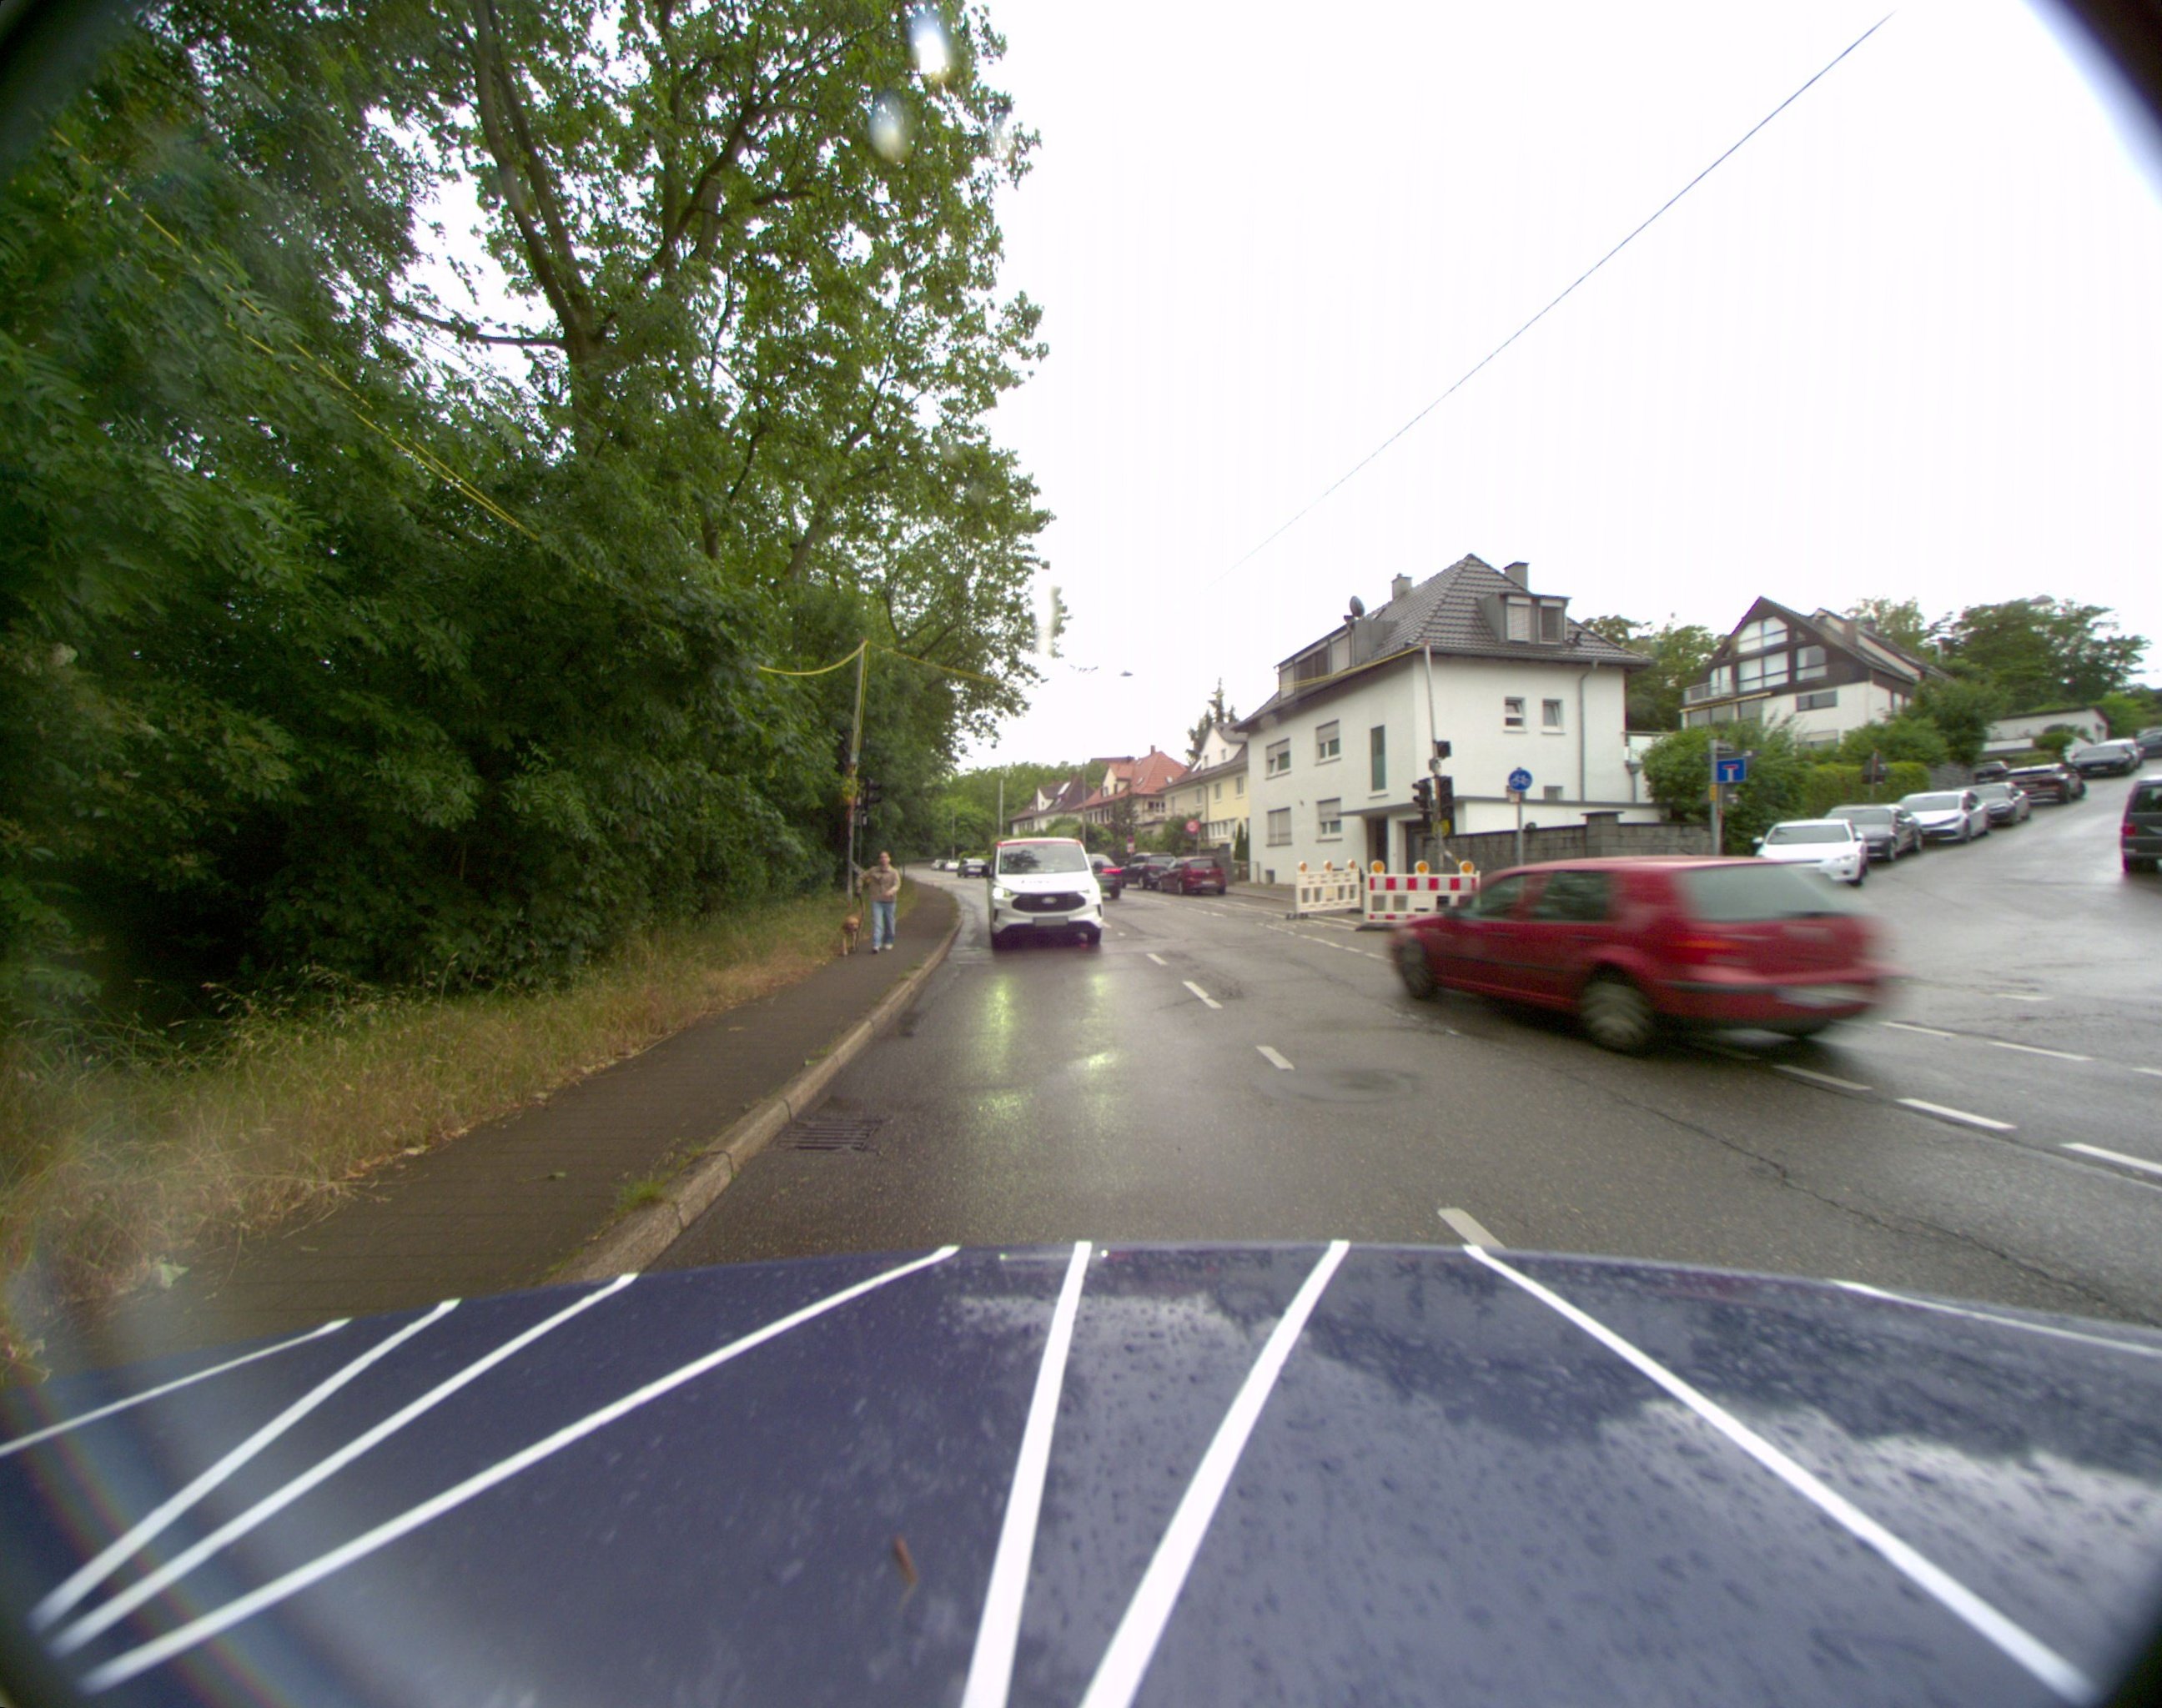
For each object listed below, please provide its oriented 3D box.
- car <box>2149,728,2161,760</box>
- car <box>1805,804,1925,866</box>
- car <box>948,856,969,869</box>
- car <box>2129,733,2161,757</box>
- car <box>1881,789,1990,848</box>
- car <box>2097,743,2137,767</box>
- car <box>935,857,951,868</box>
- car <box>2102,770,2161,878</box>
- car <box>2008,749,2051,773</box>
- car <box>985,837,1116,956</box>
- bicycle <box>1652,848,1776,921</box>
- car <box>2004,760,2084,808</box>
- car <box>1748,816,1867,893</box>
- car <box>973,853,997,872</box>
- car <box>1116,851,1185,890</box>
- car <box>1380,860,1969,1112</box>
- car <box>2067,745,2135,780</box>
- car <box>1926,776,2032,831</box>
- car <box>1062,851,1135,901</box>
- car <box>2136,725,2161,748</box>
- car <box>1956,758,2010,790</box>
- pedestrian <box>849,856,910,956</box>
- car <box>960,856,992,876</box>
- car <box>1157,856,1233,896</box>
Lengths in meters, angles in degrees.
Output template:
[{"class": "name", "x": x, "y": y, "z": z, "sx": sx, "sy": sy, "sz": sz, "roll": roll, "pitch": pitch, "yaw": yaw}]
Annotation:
[{"class": "car", "x": 72.467, "y": -7.441, "z": 48.970, "sx": 2.003, "sy": 2.000, "sz": 3.993, "roll": -2, "pitch": -4, "yaw": -32}, {"class": "car", "x": 22.465, "y": -0.555, "z": 21.748, "sx": 3.910, "sy": 1.380, "sz": 1.719, "roll": -7, "pitch": 3, "yaw": -34}, {"class": "car", "x": -15.232, "y": 1.074, "z": 94.166, "sx": 2.071, "sy": 1.477, "sz": 4.556, "roll": -2, "pitch": 0, "yaw": -16}, {"class": "car", "x": 68.327, "y": -6.931, "z": 47.686, "sx": 1.286, "sy": 1.310, "sz": 2.945, "roll": -3, "pitch": 1, "yaw": -36}, {"class": "car", "x": 27.271, "y": -1.149, "z": 24.220, "sx": 3.951, "sy": 1.462, "sz": 1.755, "roll": -7, "pitch": 3, "yaw": -33}, {"class": "car", "x": 59.839, "y": -5.736, "z": 43.886, "sx": 2.988, "sy": 1.191, "sz": 1.305, "roll": -6, "pitch": 3, "yaw": -35}, {"class": "car", "x": -18.739, "y": 1.134, "z": 103.001, "sx": 1.691, "sy": 1.419, "sz": 3.770, "roll": -2, "pitch": 0, "yaw": -17}, {"class": "car", "x": 23.884, "y": -0.749, "z": 16.250, "sx": 4.497, "sy": 2.003, "sz": 1.996, "roll": -7, "pitch": 3, "yaw": -31}, {"class": "car", "x": 57.241, "y": -5.633, "z": 45.854, "sx": 3.656, "sy": 1.205, "sz": 1.577, "roll": -7, "pitch": 3, "yaw": -38}, {"class": "car", "x": -0.814, "y": 0.702, "z": 15.203, "sx": 2.103, "sy": 1.908, "sz": 5.087, "roll": -2, "pitch": 0, "yaw": -7}, {"class": "bicycle", "x": 11.589, "y": 0.539, "z": 13.924, "sx": 2.006, "sy": 1.232, "sz": 0.510, "roll": -2, "pitch": 3, "yaw": -8}, {"class": "car", "x": 40.721, "y": -2.979, "z": 32.101, "sx": 4.004, "sy": 1.617, "sz": 1.638, "roll": -8, "pitch": 4, "yaw": -32}, {"class": "car", "x": 17.778, "y": -0.046, "z": 18.526, "sx": 4.126, "sy": 1.455, "sz": 1.849, "roll": -7, "pitch": 4, "yaw": -43}, {"class": "car", "x": -9.606, "y": 0.845, "z": 75.945, "sx": 1.882, "sy": 1.814, "sz": 4.121, "roll": -2, "pitch": 0, "yaw": -14}, {"class": "car", "x": 3.132, "y": 0.734, "z": 35.023, "sx": 1.798, "sy": 1.630, "sz": 4.150, "roll": -1, "pitch": 0, "yaw": -15}, {"class": "car", "x": 4.487, "y": 0.819, "z": 6.630, "sx": 1.770, "sy": 1.454, "sz": 3.883, "roll": -2, "pitch": 0, "yaw": -8}, {"class": "car", "x": 54.817, "y": -4.874, "z": 40.829, "sx": 4.034, "sy": 1.511, "sz": 1.786, "roll": -2, "pitch": 0, "yaw": -31}, {"class": "car", "x": 32.329, "y": -1.828, "z": 27.323, "sx": 4.111, "sy": 1.430, "sz": 1.921, "roll": -9, "pitch": 4, "yaw": -33}, {"class": "car", "x": 0.565, "y": 0.754, "z": 28.900, "sx": 2.000, "sy": 1.664, "sz": 4.684, "roll": -2, "pitch": 0, "yaw": -8}, {"class": "car", "x": 81.121, "y": -8.860, "z": 55.948, "sx": 1.754, "sy": 1.508, "sz": 3.961, "roll": -3, "pitch": 1, "yaw": -35}, {"class": "car", "x": 52.870, "y": -4.644, "z": 44.506, "sx": 4.020, "sy": 1.545, "sz": 1.812, "roll": -3, "pitch": 1, "yaw": -37}, {"class": "pedestrian", "x": -3.136, "y": 0.788, "z": 11.885, "sx": 0.735, "sy": 1.490, "sz": 0.785, "roll": 1, "pitch": 1, "yaw": -1}, {"class": "car", "x": -8.682, "y": 0.946, "z": 62.516, "sx": 1.860, "sy": 1.518, "sz": 4.813, "roll": -3, "pitch": 0, "yaw": -16}, {"class": "car", "x": 4.384, "y": 0.819, "z": 29.895, "sx": 1.787, "sy": 1.423, "sz": 3.844, "roll": -2, "pitch": 0, "yaw": -10}]
